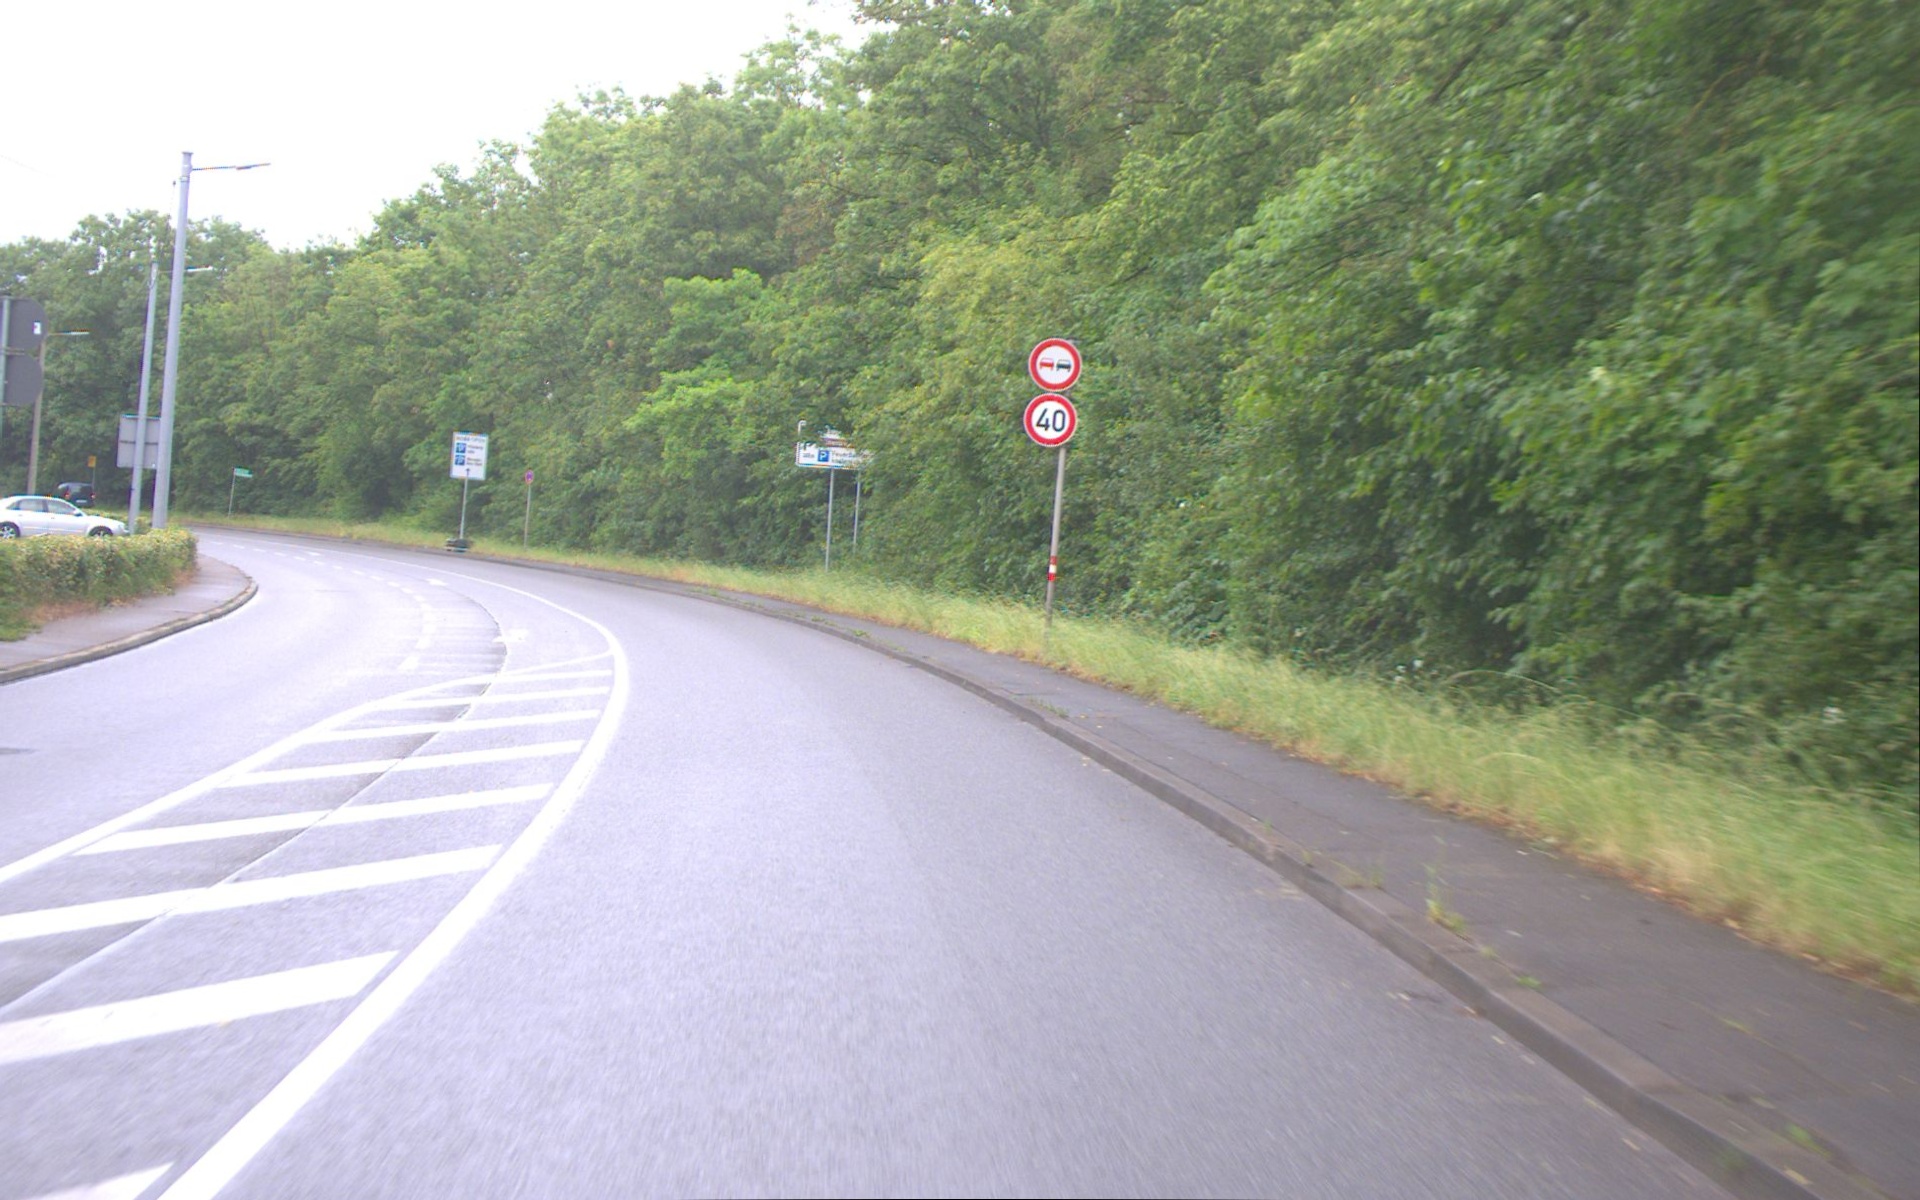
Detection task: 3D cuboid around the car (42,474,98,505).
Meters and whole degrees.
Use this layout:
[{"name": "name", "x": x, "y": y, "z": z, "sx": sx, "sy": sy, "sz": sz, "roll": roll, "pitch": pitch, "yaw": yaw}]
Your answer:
[{"name": "car", "x": -47.197, "y": -5.884, "z": 182.266, "sx": 1.934, "sy": 1.493, "sz": 4.319, "roll": 2, "pitch": 2, "yaw": -27}]

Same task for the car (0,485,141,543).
[{"name": "car", "x": -26.289, "y": -2.513, "z": 99.878, "sx": 4.574, "sy": 1.501, "sz": 2.001, "roll": 2, "pitch": 1, "yaw": -21}]

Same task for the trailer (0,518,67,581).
[{"name": "trailer", "x": -16.427, "y": -0.886, "z": 59.482, "sx": 1.800, "sy": 1.031, "sz": 1.334, "roll": 2, "pitch": 1, "yaw": -13}]

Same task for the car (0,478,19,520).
[{"name": "car", "x": -41.632, "y": -4.316, "z": 143.618, "sx": 4.289, "sy": 1.702, "sz": 2.001, "roll": 3, "pitch": 1, "yaw": -18}]
